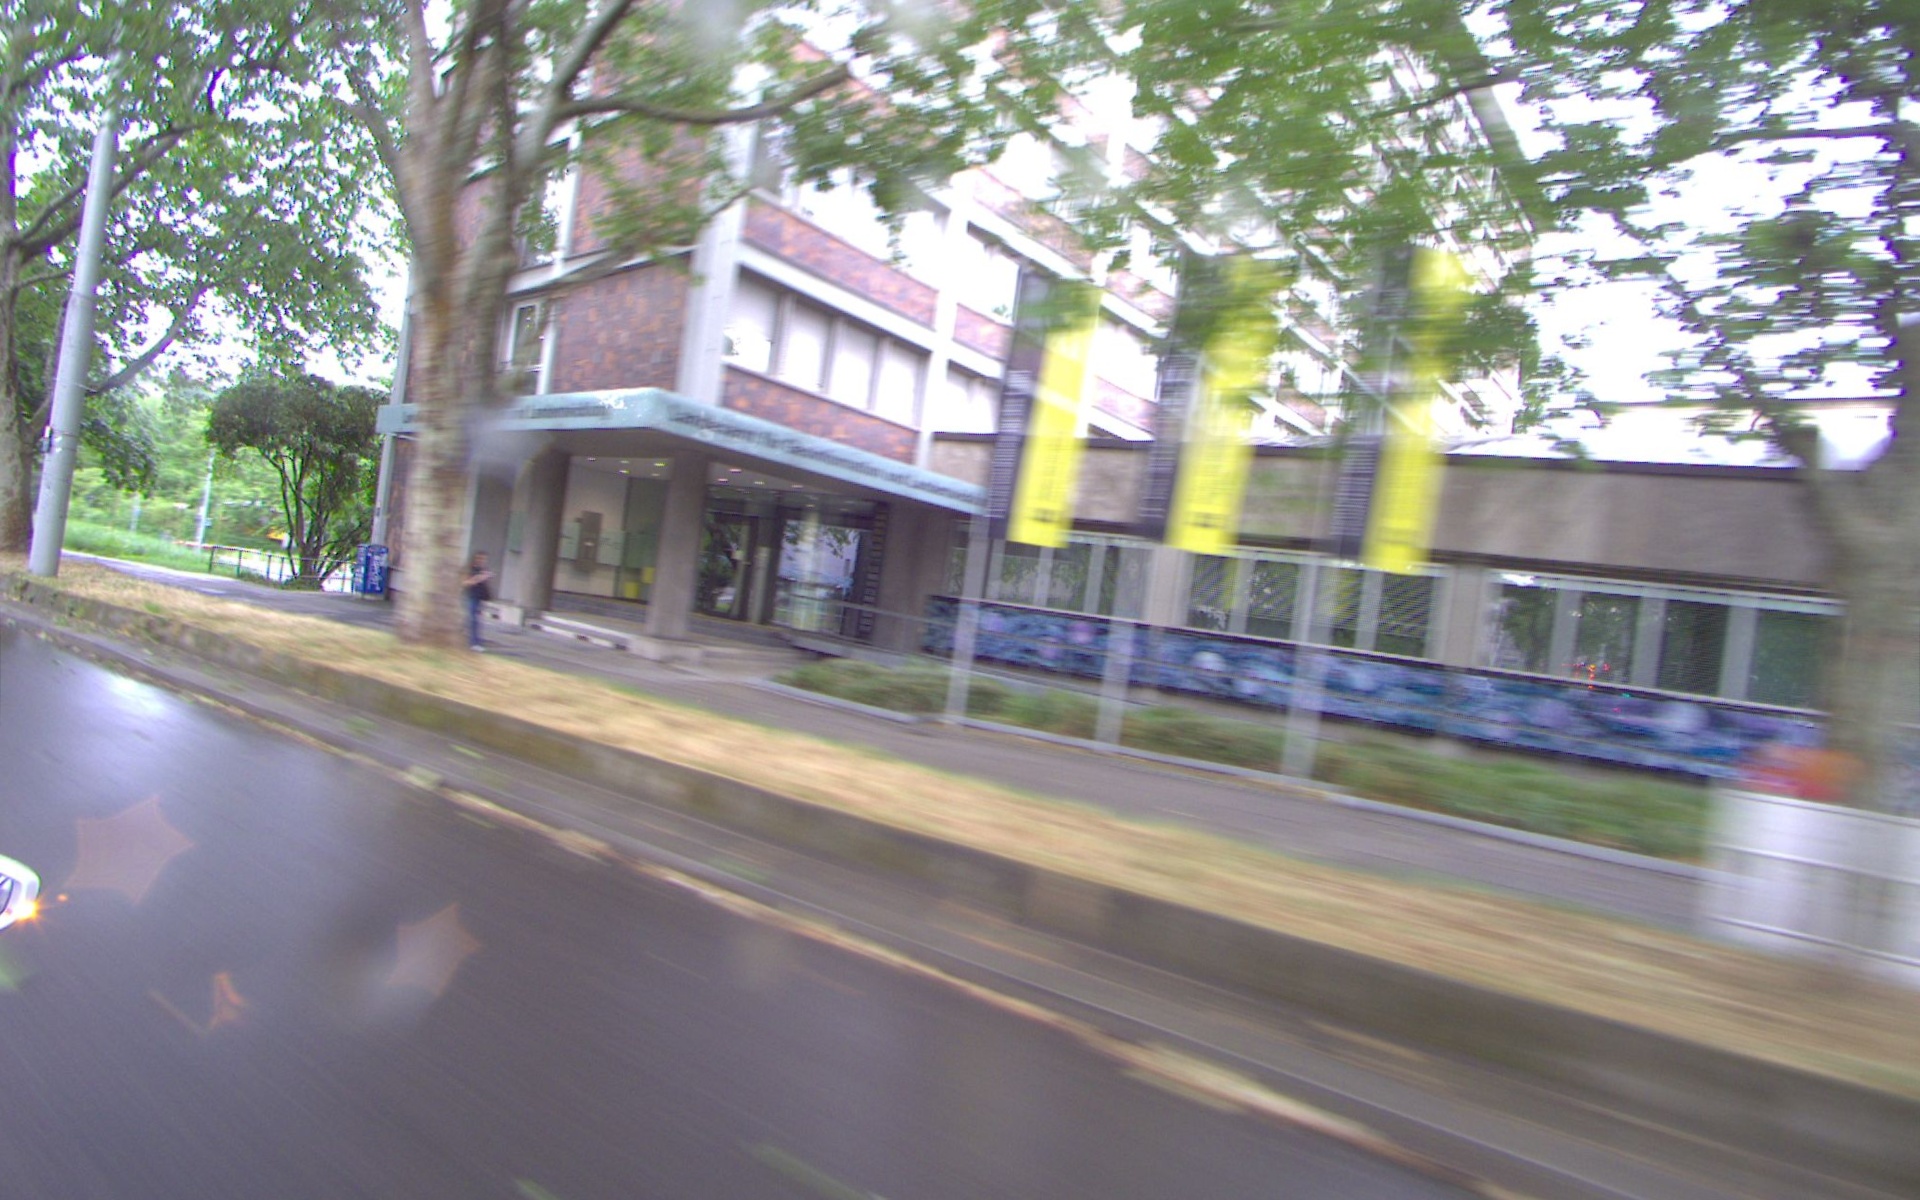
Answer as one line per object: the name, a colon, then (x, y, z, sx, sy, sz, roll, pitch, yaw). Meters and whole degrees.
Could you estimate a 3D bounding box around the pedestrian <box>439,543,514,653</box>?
pedestrian: (-7.896, -0.036, 16.428, 0.920, 1.658, 0.521, 7, -1, 34)
